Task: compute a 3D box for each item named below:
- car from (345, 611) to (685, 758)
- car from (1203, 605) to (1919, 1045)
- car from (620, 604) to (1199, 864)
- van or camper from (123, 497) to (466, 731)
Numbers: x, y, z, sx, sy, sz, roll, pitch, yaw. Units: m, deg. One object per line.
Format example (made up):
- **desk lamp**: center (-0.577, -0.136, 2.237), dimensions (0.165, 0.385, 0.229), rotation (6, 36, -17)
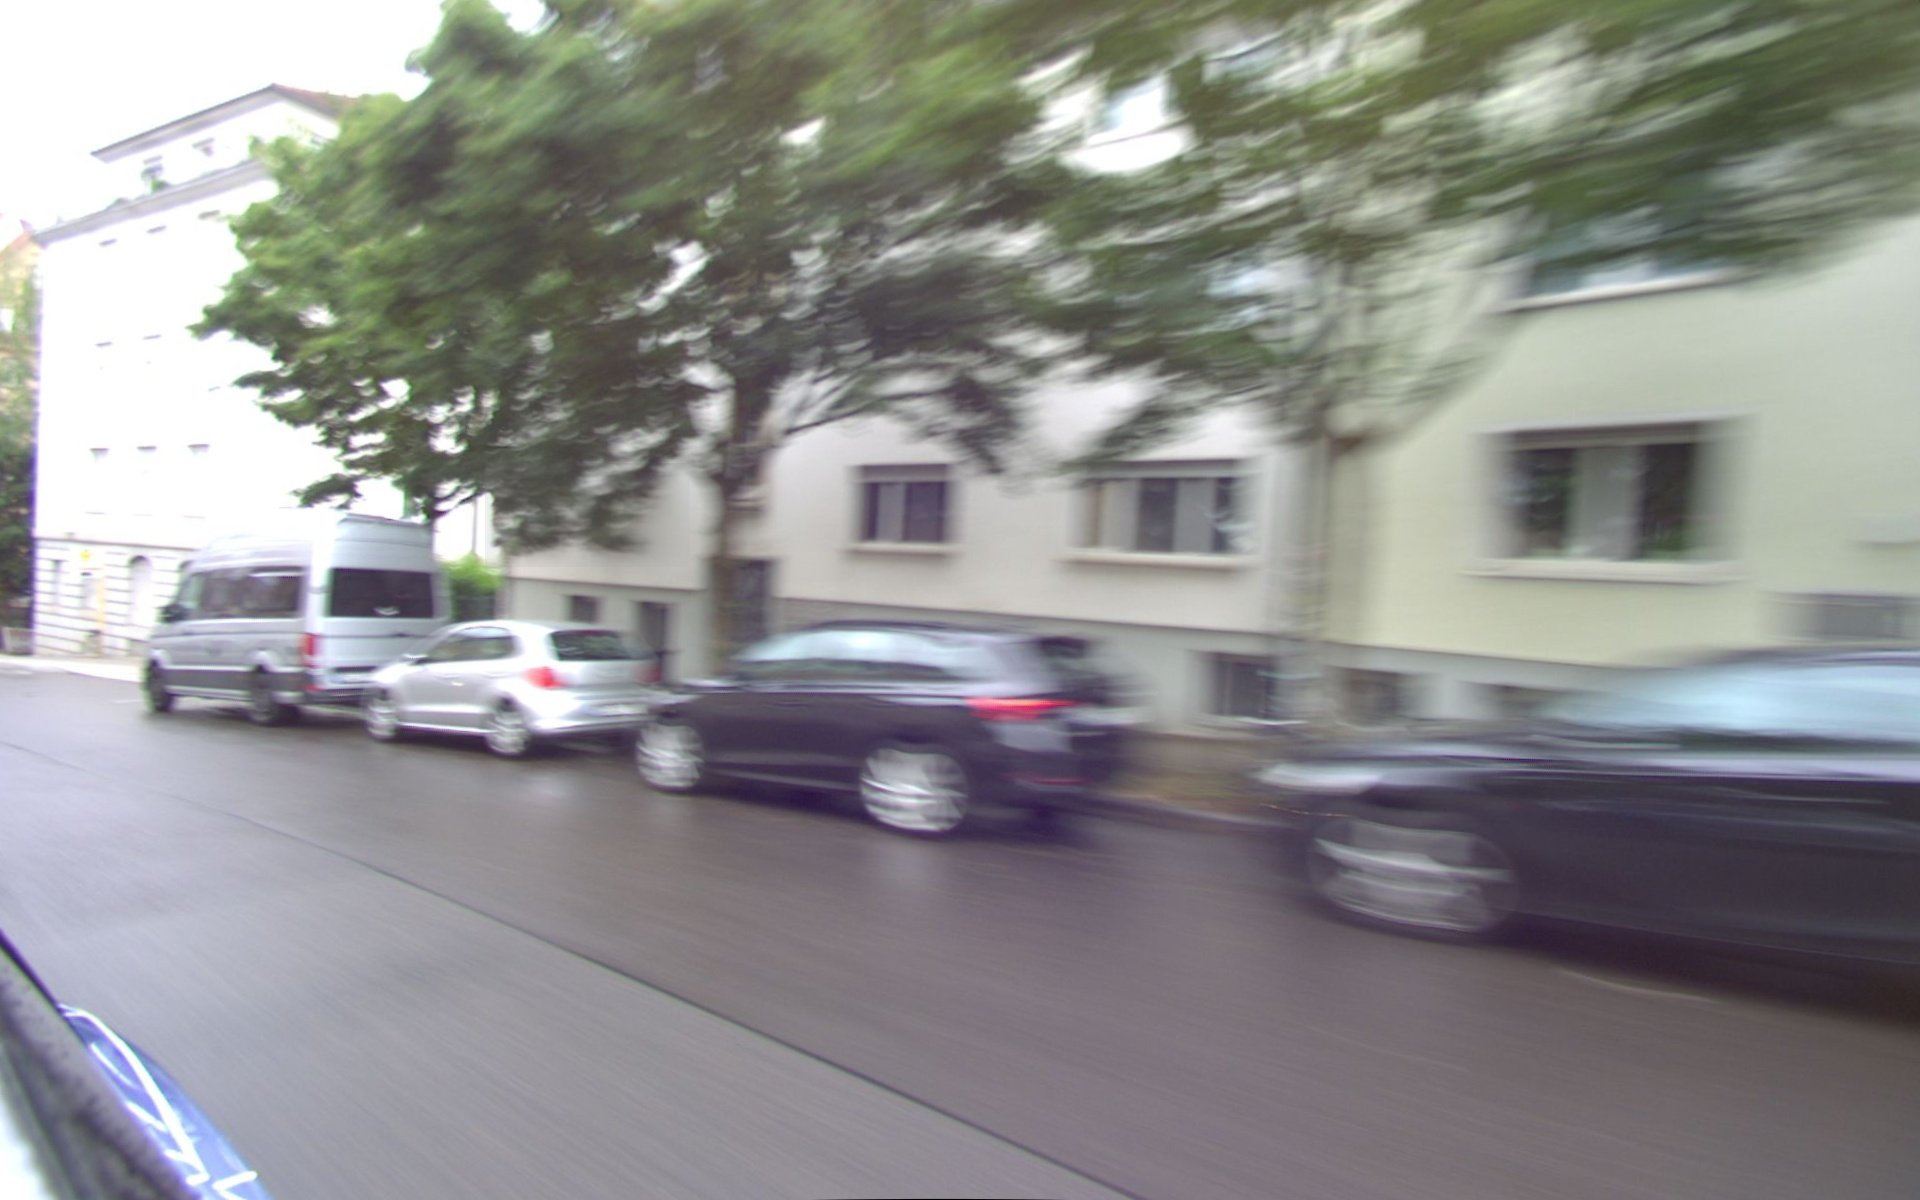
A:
- **car**: center (-5.143, 0.859, 11.544), dimensions (4.034, 1.420, 1.574), rotation (-1, -2, 32)
- **car**: center (3.579, 0.781, 4.410), dimensions (4.645, 1.504, 1.767), rotation (-1, -1, 43)
- **car**: center (-0.587, 0.833, 7.962), dimensions (4.492, 1.504, 1.770), rotation (-1, -3, 38)
- **van or camper**: center (-9.907, 0.232, 14.905), dimensions (5.731, 2.881, 2.050), rotation (-1, -3, 33)
